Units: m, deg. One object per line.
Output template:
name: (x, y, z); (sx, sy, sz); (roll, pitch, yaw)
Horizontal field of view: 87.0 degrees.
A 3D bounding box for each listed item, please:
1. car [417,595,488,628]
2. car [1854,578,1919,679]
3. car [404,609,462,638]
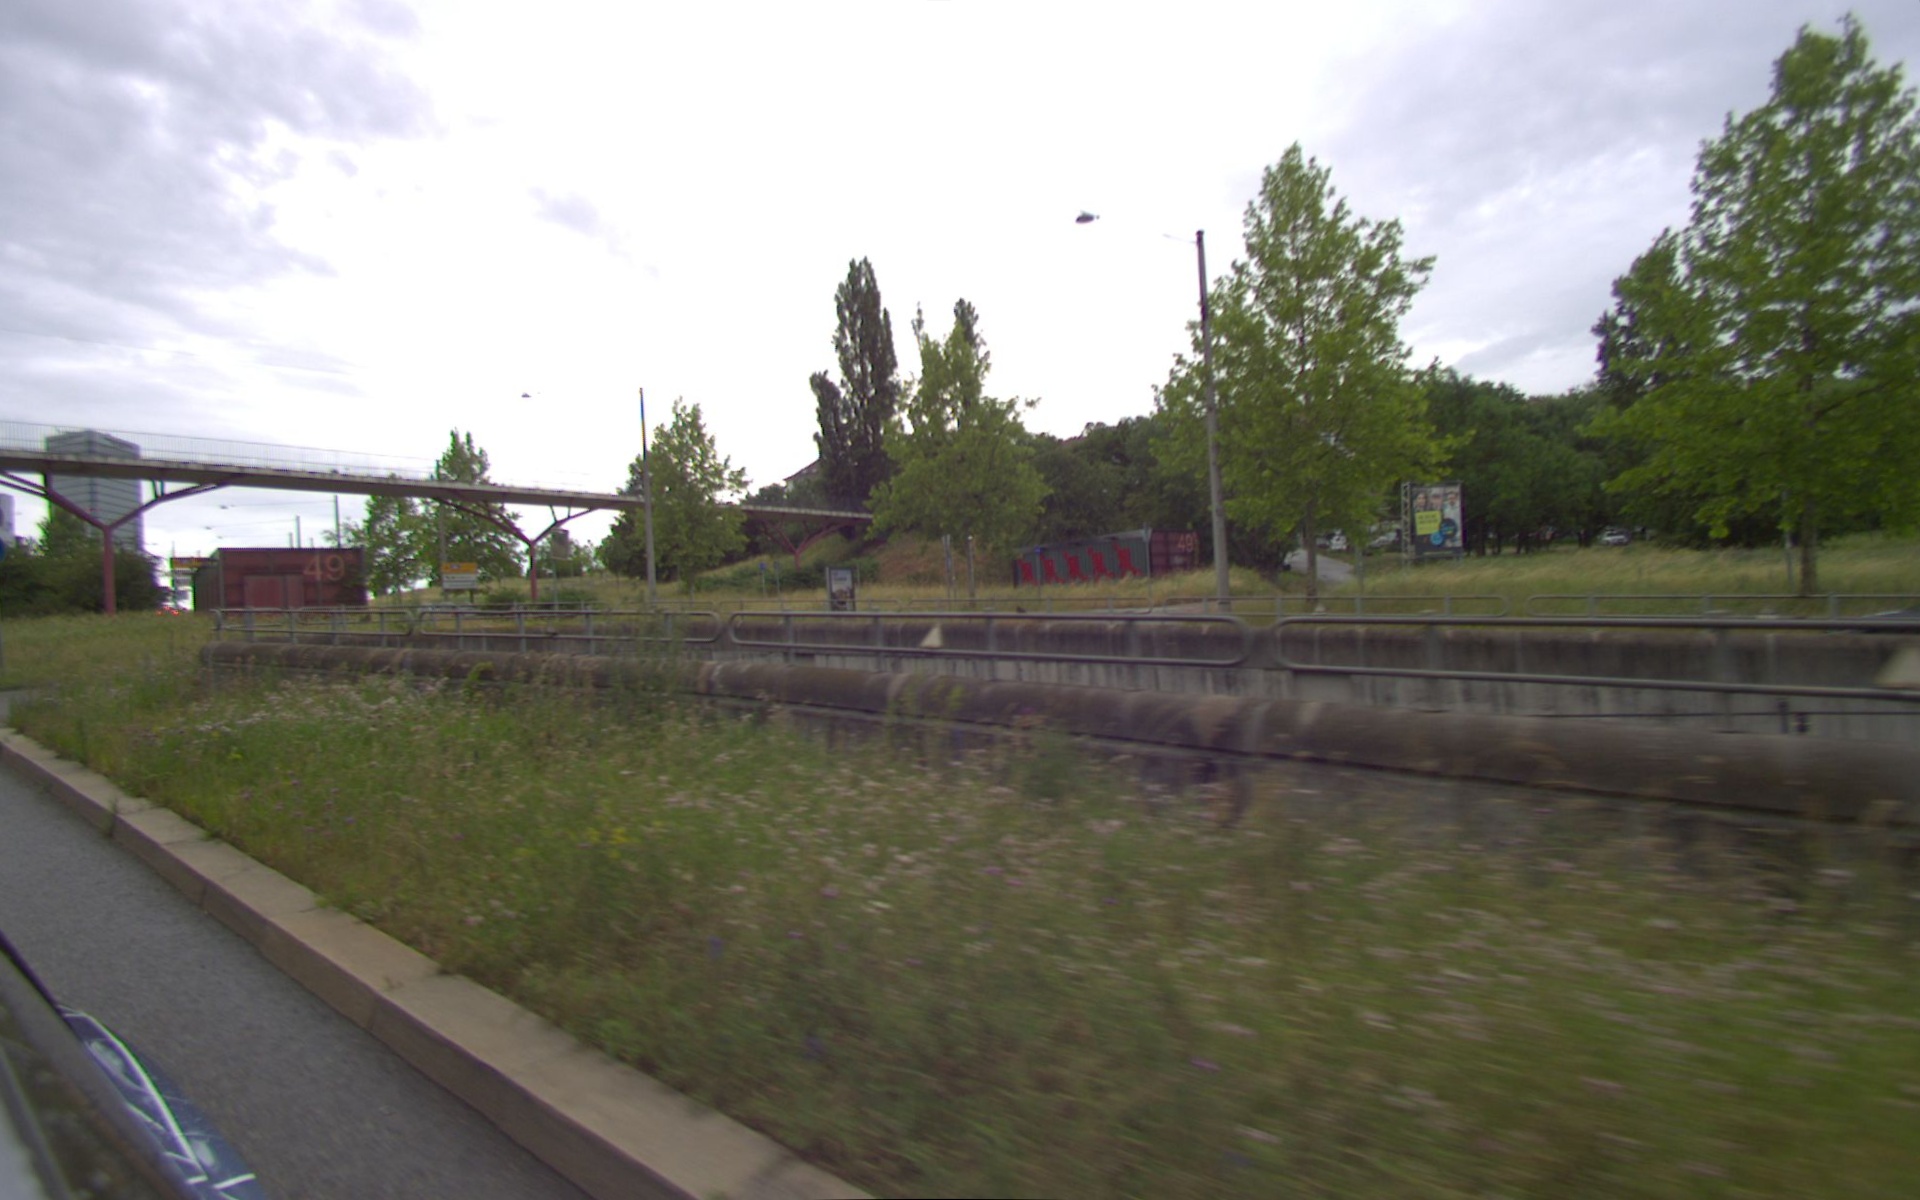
car: (-25.399, 0.600, 50.581); (4.434, 1.539, 1.639); (-2, 1, 42)
car: (17.236, 0.443, 16.489); (3.972, 1.653, 1.871); (-1, 0, 42)
car: (-31.667, 1.387, 60.806); (3.787, 1.585, 1.641); (-1, 3, 39)
